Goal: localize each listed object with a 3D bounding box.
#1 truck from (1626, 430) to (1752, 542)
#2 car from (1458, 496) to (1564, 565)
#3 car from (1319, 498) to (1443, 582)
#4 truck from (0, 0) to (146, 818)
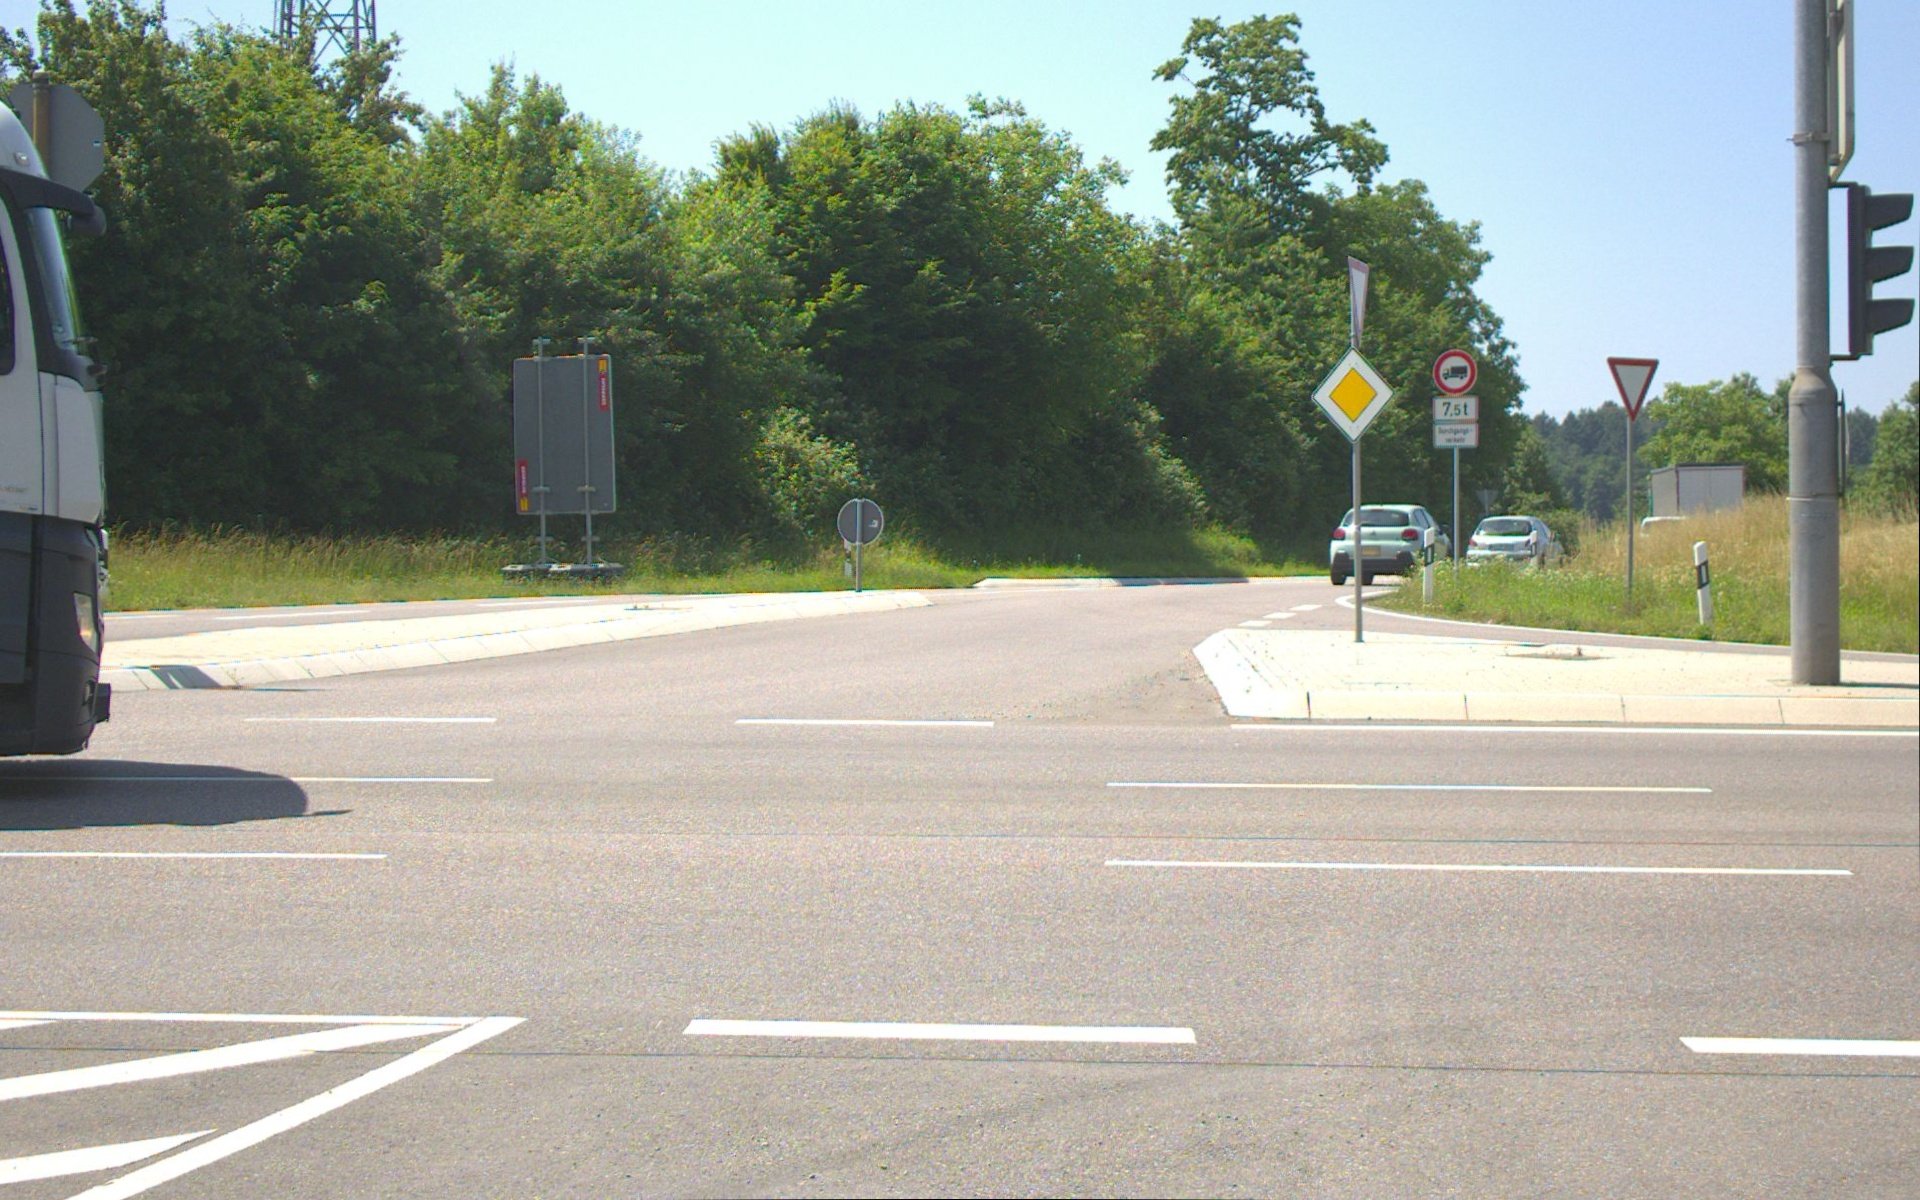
[{"bbox_3d":[28.848,-4.472,136.776,3.126,4.158,16.684,0,1,6],"label":"truck"},{"bbox_3d":[12.241,-1.562,76.254,1.814,1.408,3.781,1,3,17],"label":"car"},{"bbox_3d":[7.755,-1.126,63.077,1.730,1.399,3.985,2,3,14],"label":"car"},{"bbox_3d":[-7.353,-1.058,16.807,6.259,4.022,2.662,0,2,-6],"label":"truck"}]
